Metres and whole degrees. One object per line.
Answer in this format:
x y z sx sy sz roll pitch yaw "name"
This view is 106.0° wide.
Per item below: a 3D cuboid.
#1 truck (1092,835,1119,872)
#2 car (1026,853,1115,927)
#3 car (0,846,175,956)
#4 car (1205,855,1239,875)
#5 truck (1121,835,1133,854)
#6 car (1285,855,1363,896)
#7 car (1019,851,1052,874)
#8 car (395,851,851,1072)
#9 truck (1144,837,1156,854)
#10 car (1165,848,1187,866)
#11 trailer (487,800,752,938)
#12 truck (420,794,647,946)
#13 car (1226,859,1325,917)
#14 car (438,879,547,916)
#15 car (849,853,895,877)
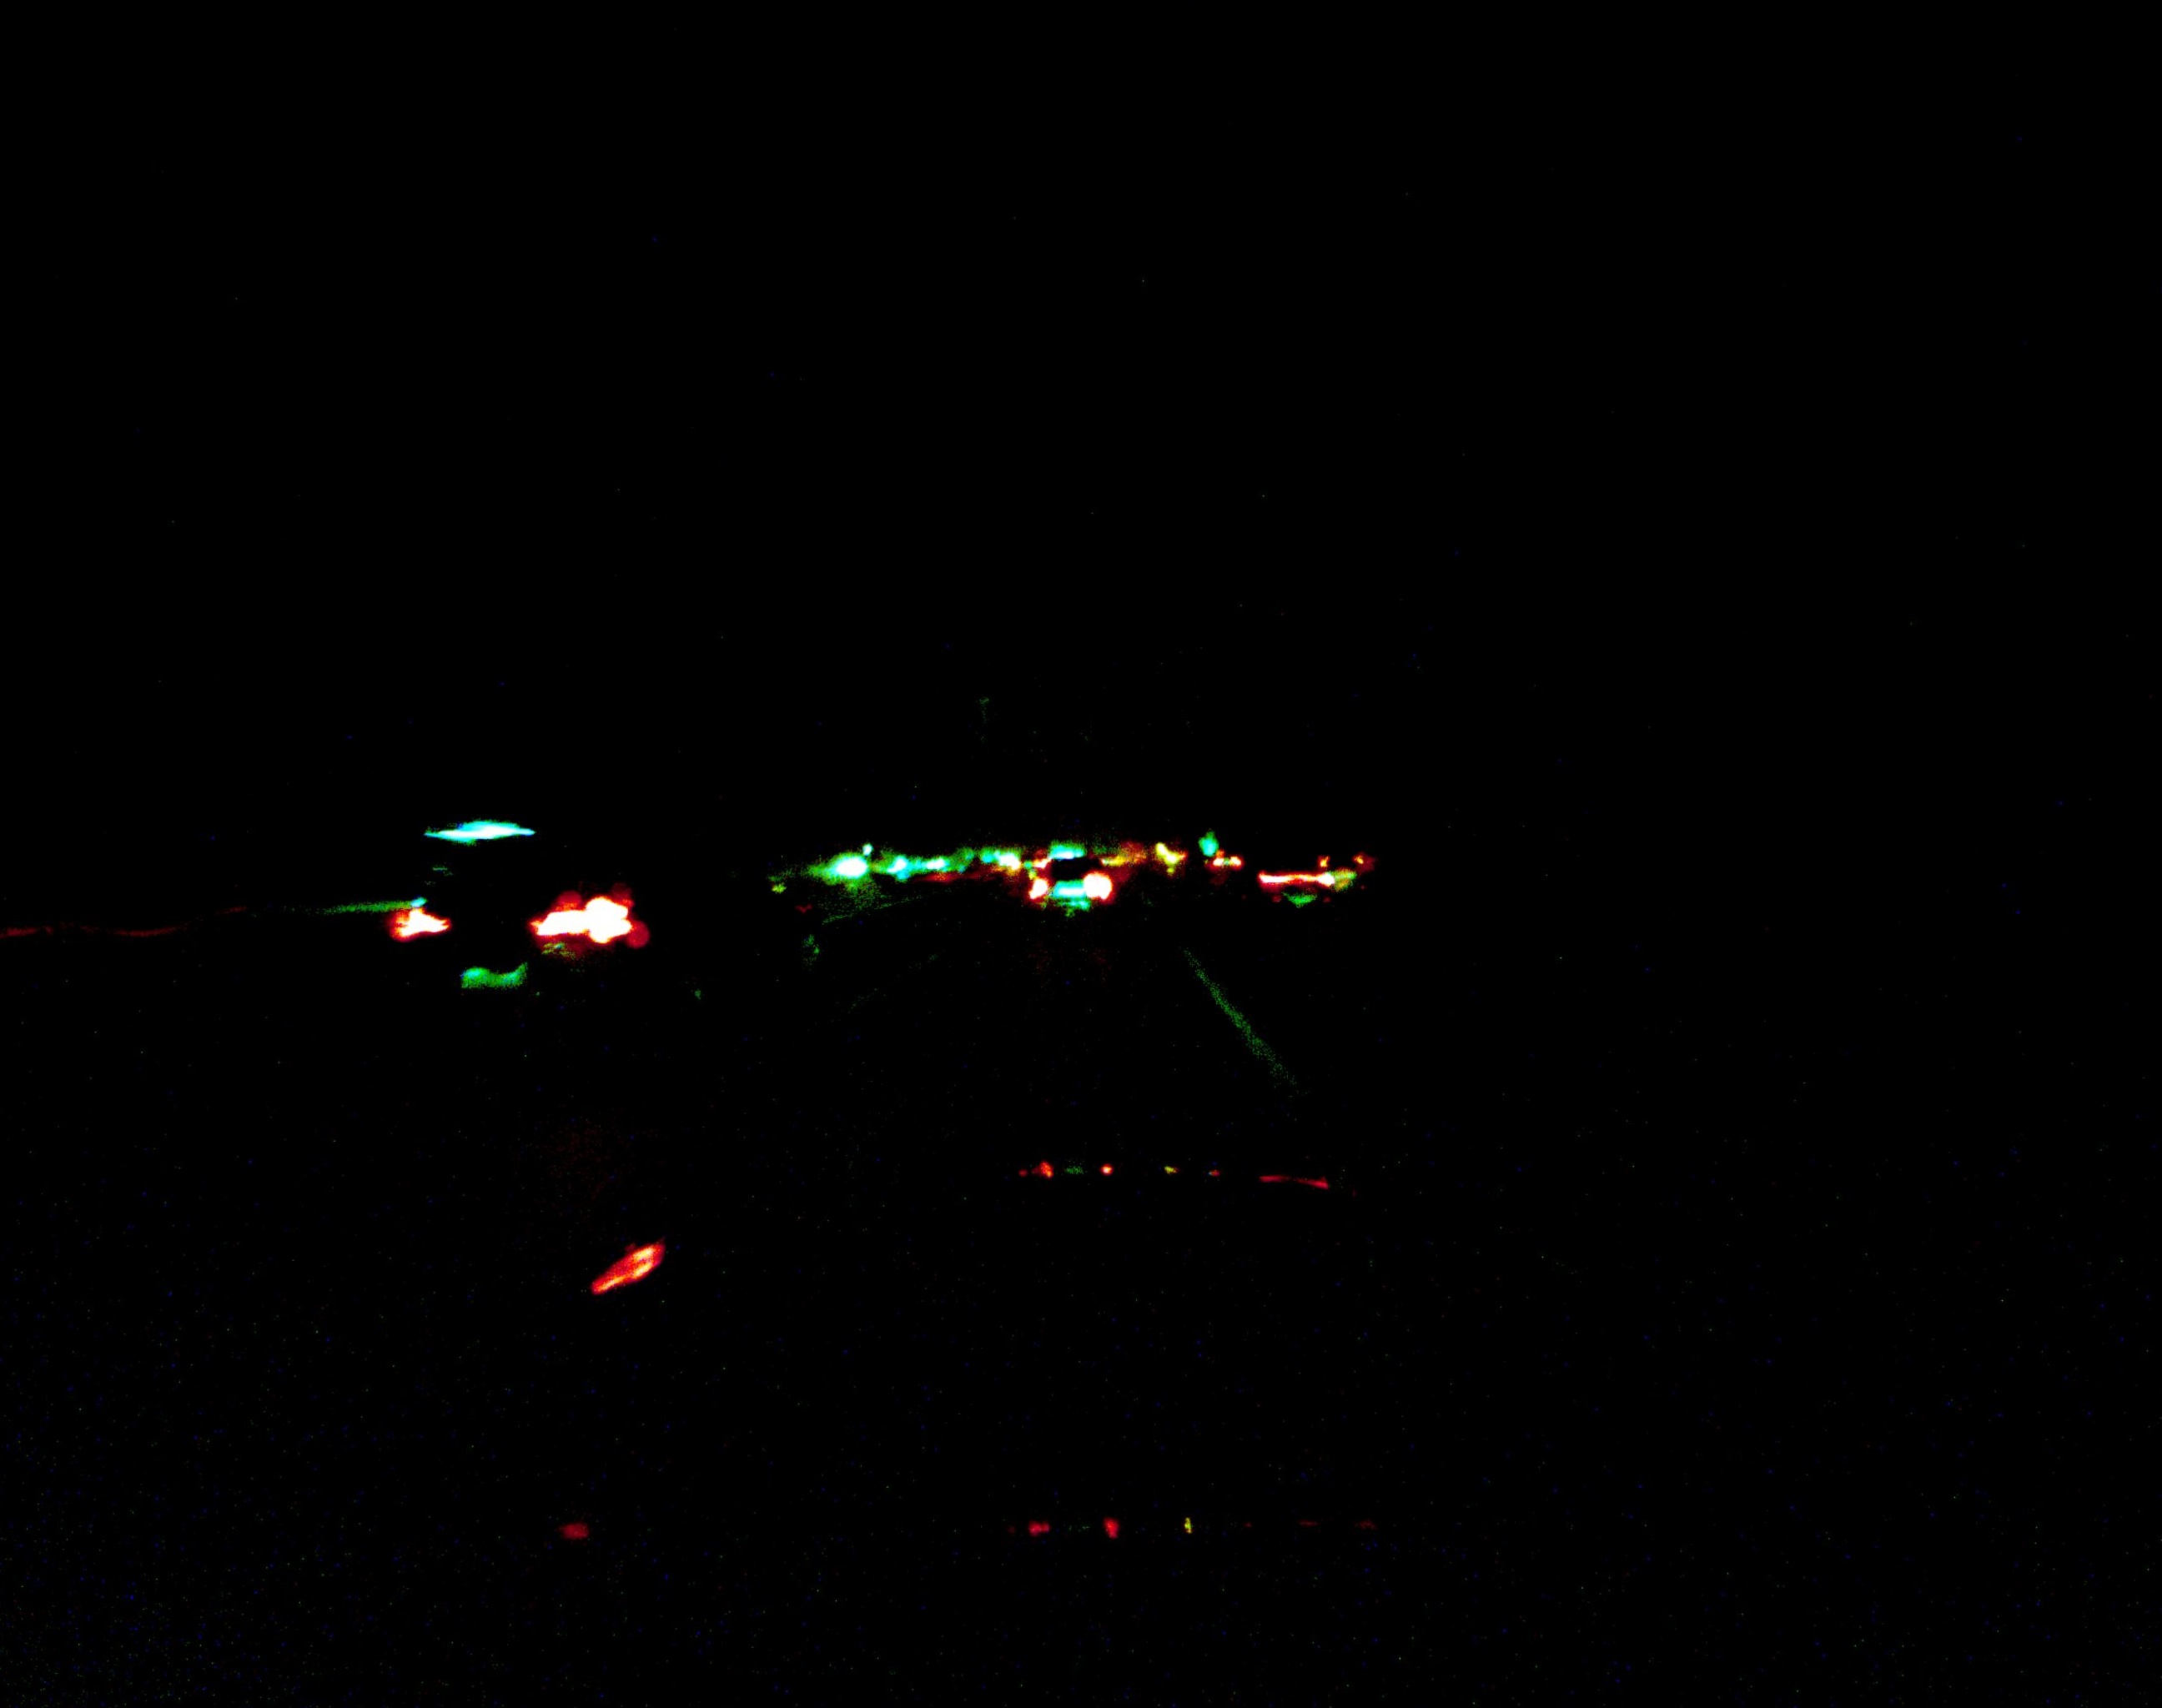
2.266 -0.060 73.729 1.985 3.042 6.471 -4 0 4 "truck"
-0.131 0.727 18.510 1.795 1.487 4.002 -1 0 2 "car"
-16.694 0.700 11.748 1.986 1.599 4.596 -1 0 2 "car"
9.191 0.703 53.240 1.576 1.246 3.066 -1 0 -2 "car"
8.190 -1.646 144.151 1.985 3.042 6.471 -4 0 4 "truck"
7.979 0.660 26.961 1.576 1.246 3.066 -1 0 -2 "car"
-2.685 0.505 48.440 1.657 1.236 3.761 -4 0 0 "car"
-4.093 0.797 8.455 1.851 1.540 4.754 -1 1 2 "car"
13.491 -1.608 159.731 1.985 3.042 6.471 -4 0 4 "truck"
9.026 0.289 77.814 1.855 1.618 4.004 -1 0 3 "car"
-19.864 0.569 37.091 2.911 4.849 14.589 -4 0 2 "trailer"
-20.144 0.547 30.733 2.911 4.849 7.581 -4 0 2 "truck"
4.608 0.764 19.645 1.576 1.246 3.066 -1 0 -2 "car"
-27.519 1.989 38.307 1.553 1.377 4.596 -4 0 2 "car"
-15.008 0.768 58.708 1.986 1.599 4.596 -1 0 2 "car"
